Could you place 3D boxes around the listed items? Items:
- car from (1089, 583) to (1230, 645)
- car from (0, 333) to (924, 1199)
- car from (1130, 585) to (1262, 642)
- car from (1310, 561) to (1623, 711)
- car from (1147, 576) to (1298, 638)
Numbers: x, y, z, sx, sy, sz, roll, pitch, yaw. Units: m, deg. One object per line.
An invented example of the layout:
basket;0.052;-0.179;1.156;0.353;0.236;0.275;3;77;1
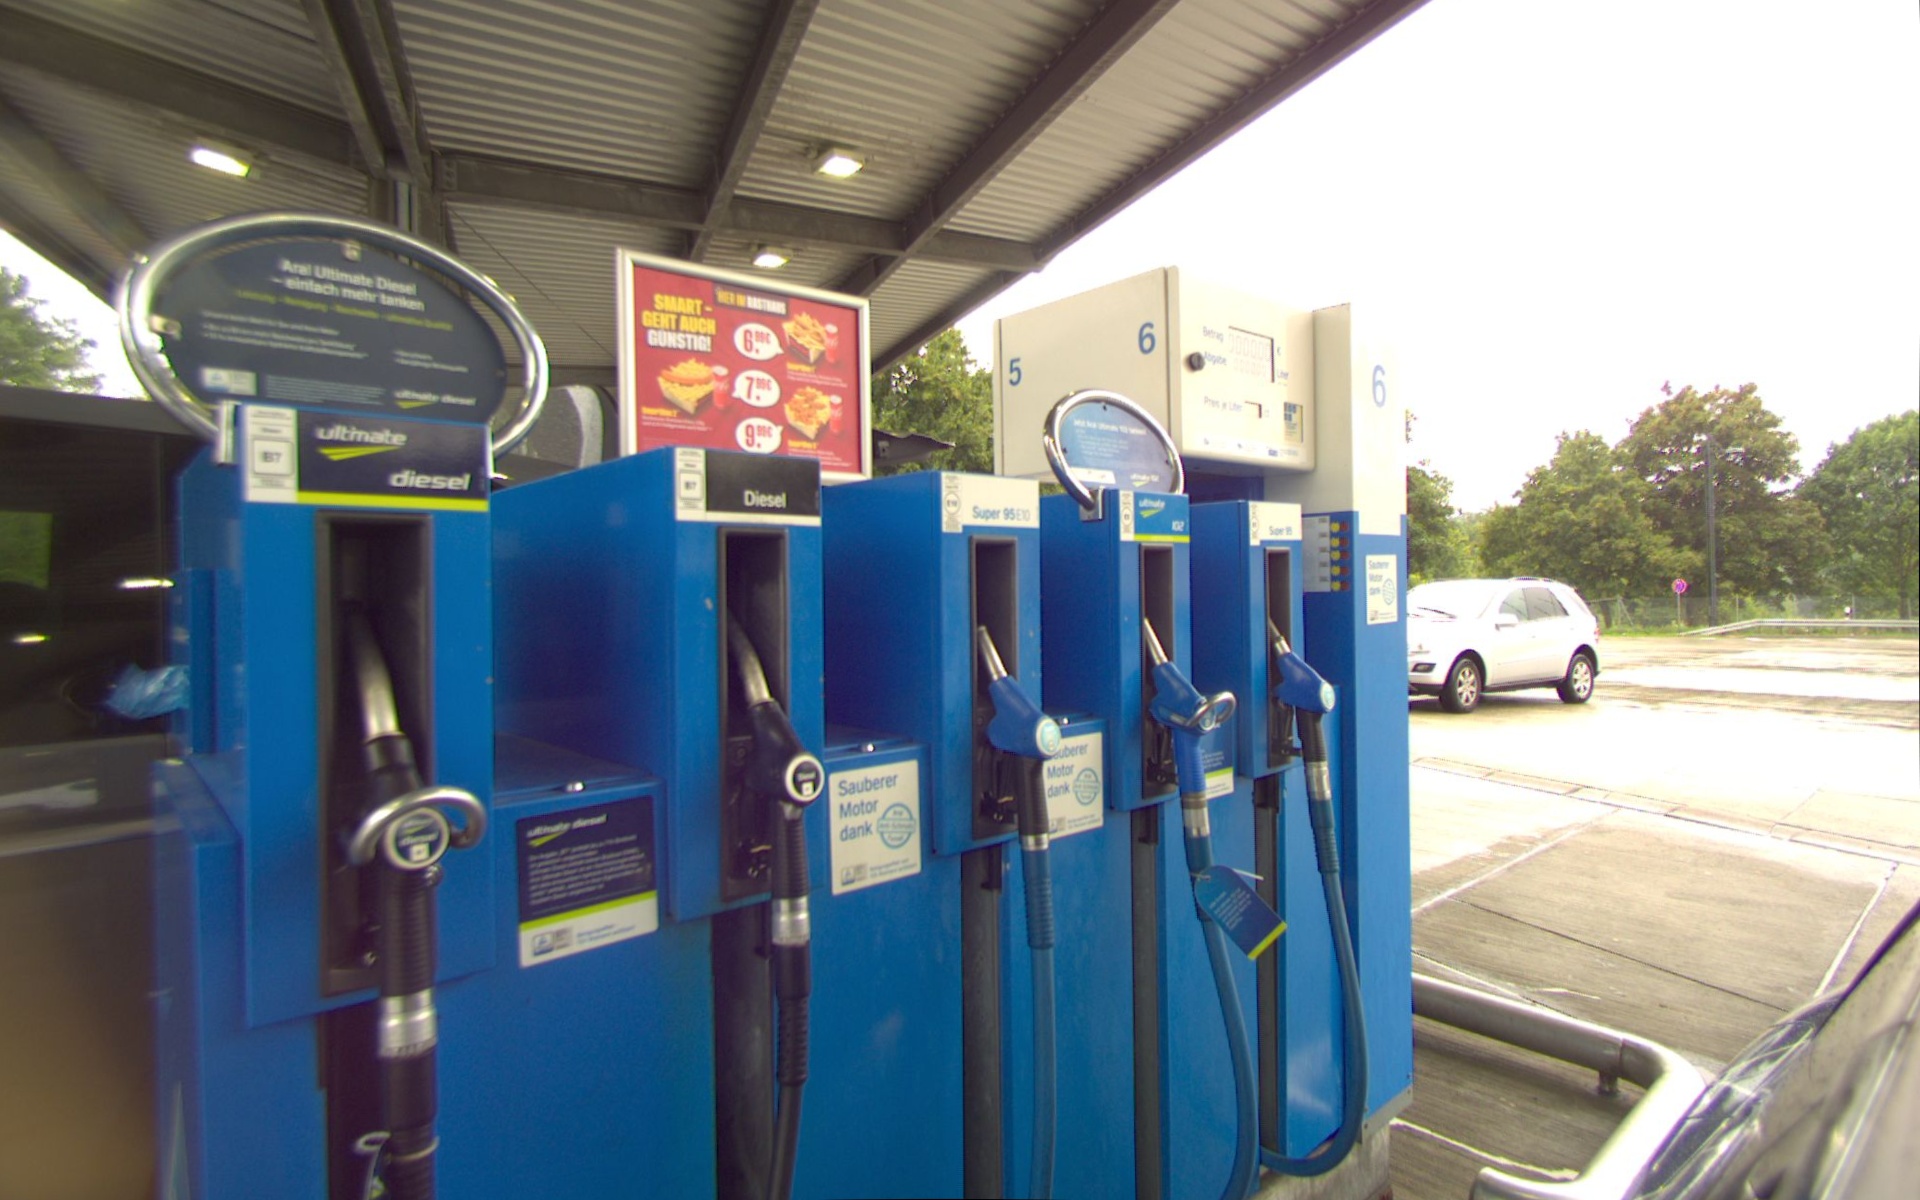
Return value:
car;5.865;0.378;29.723;3.941;1.680;1.593;1;0;14
car;-2.609;0.503;1.811;5.050;1.821;1.864;-1;0;-41
car;7.419;0.389;31.913;3.941;1.680;1.593;1;0;14
car;7.192;0.447;14.261;4.449;1.821;1.869;1;0;-31
car;8.881;0.211;34.496;4.817;1.974;2.306;1;1;14
